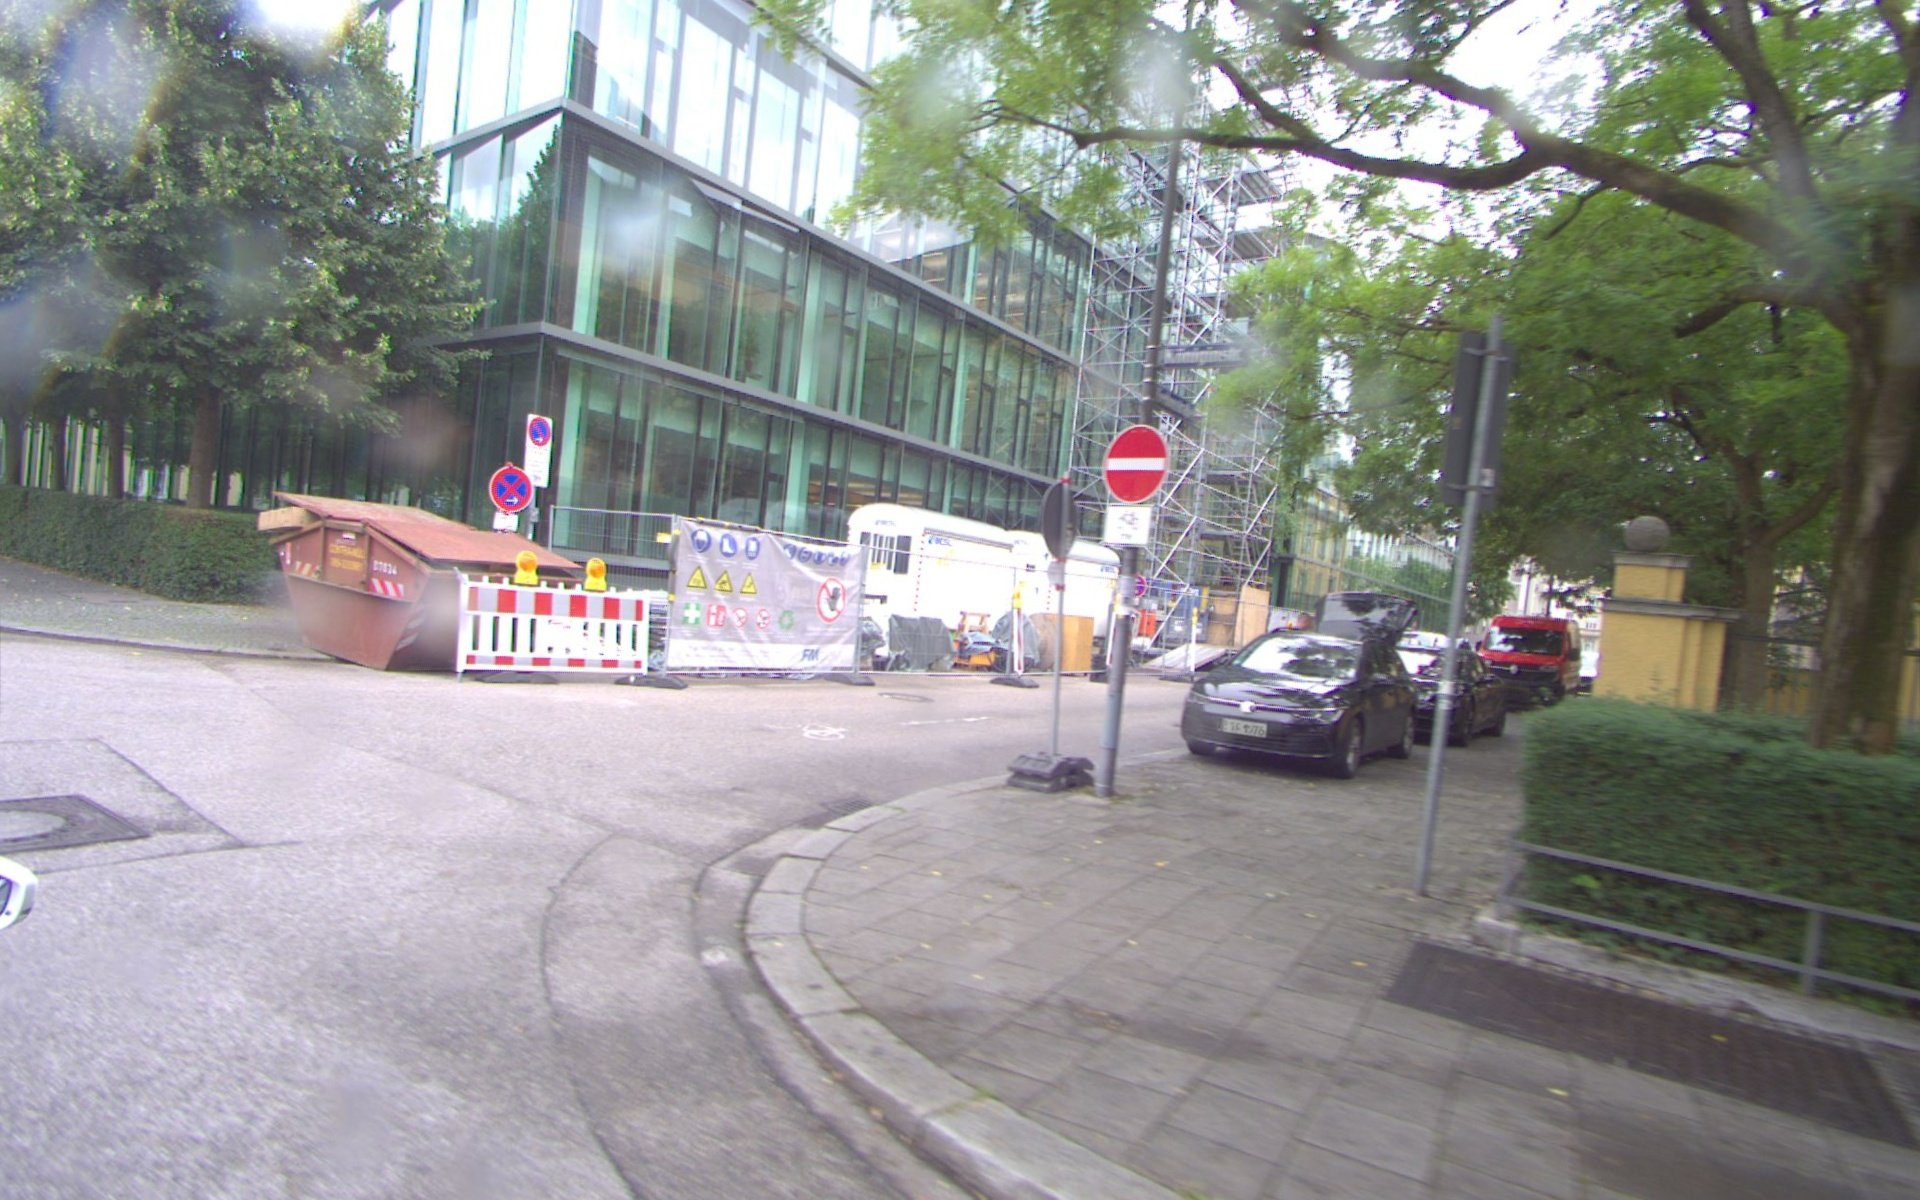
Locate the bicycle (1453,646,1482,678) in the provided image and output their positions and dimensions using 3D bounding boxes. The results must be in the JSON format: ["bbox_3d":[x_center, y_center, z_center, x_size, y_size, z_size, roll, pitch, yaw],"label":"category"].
[{"bbox_3d":[21.158,2.572,41.971,0.749,1.157,2.260,6,1,22],"label":"bicycle"}]

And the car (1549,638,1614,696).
[{"bbox_3d":[25.381,2.721,41.143,1.967,2.039,3.990,7,1,32],"label":"car"}]

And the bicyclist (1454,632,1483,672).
[{"bbox_3d":[21.276,2.178,42.139,0.796,1.595,0.977,7,1,21],"label":"bicyclist"}]

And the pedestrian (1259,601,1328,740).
[{"bbox_3d":[4.630,0.959,14.011,0.672,1.834,0.672,6,3,13],"label":"pedestrian"}]

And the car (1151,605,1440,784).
[{"bbox_3d":[4.015,0.999,11.558,1.840,1.505,4.203,6,1,36],"label":"car"}]

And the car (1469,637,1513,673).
[{"bbox_3d":[38.147,3.973,72.224,1.969,2.141,4.513,6,-2,36],"label":"car"}]

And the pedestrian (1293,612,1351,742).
[{"bbox_3d":[5.209,1.088,14.470,0.579,1.775,0.560,6,2,22],"label":"pedestrian"}]

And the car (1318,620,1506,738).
[{"bbox_3d":[7.433,1.242,16.335,1.841,1.505,3.990,6,1,37],"label":"car"}]

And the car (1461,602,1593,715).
[{"bbox_3d":[15.026,1.546,26.452,2.121,2.493,5.674,6,0,37],"label":"car"}]
